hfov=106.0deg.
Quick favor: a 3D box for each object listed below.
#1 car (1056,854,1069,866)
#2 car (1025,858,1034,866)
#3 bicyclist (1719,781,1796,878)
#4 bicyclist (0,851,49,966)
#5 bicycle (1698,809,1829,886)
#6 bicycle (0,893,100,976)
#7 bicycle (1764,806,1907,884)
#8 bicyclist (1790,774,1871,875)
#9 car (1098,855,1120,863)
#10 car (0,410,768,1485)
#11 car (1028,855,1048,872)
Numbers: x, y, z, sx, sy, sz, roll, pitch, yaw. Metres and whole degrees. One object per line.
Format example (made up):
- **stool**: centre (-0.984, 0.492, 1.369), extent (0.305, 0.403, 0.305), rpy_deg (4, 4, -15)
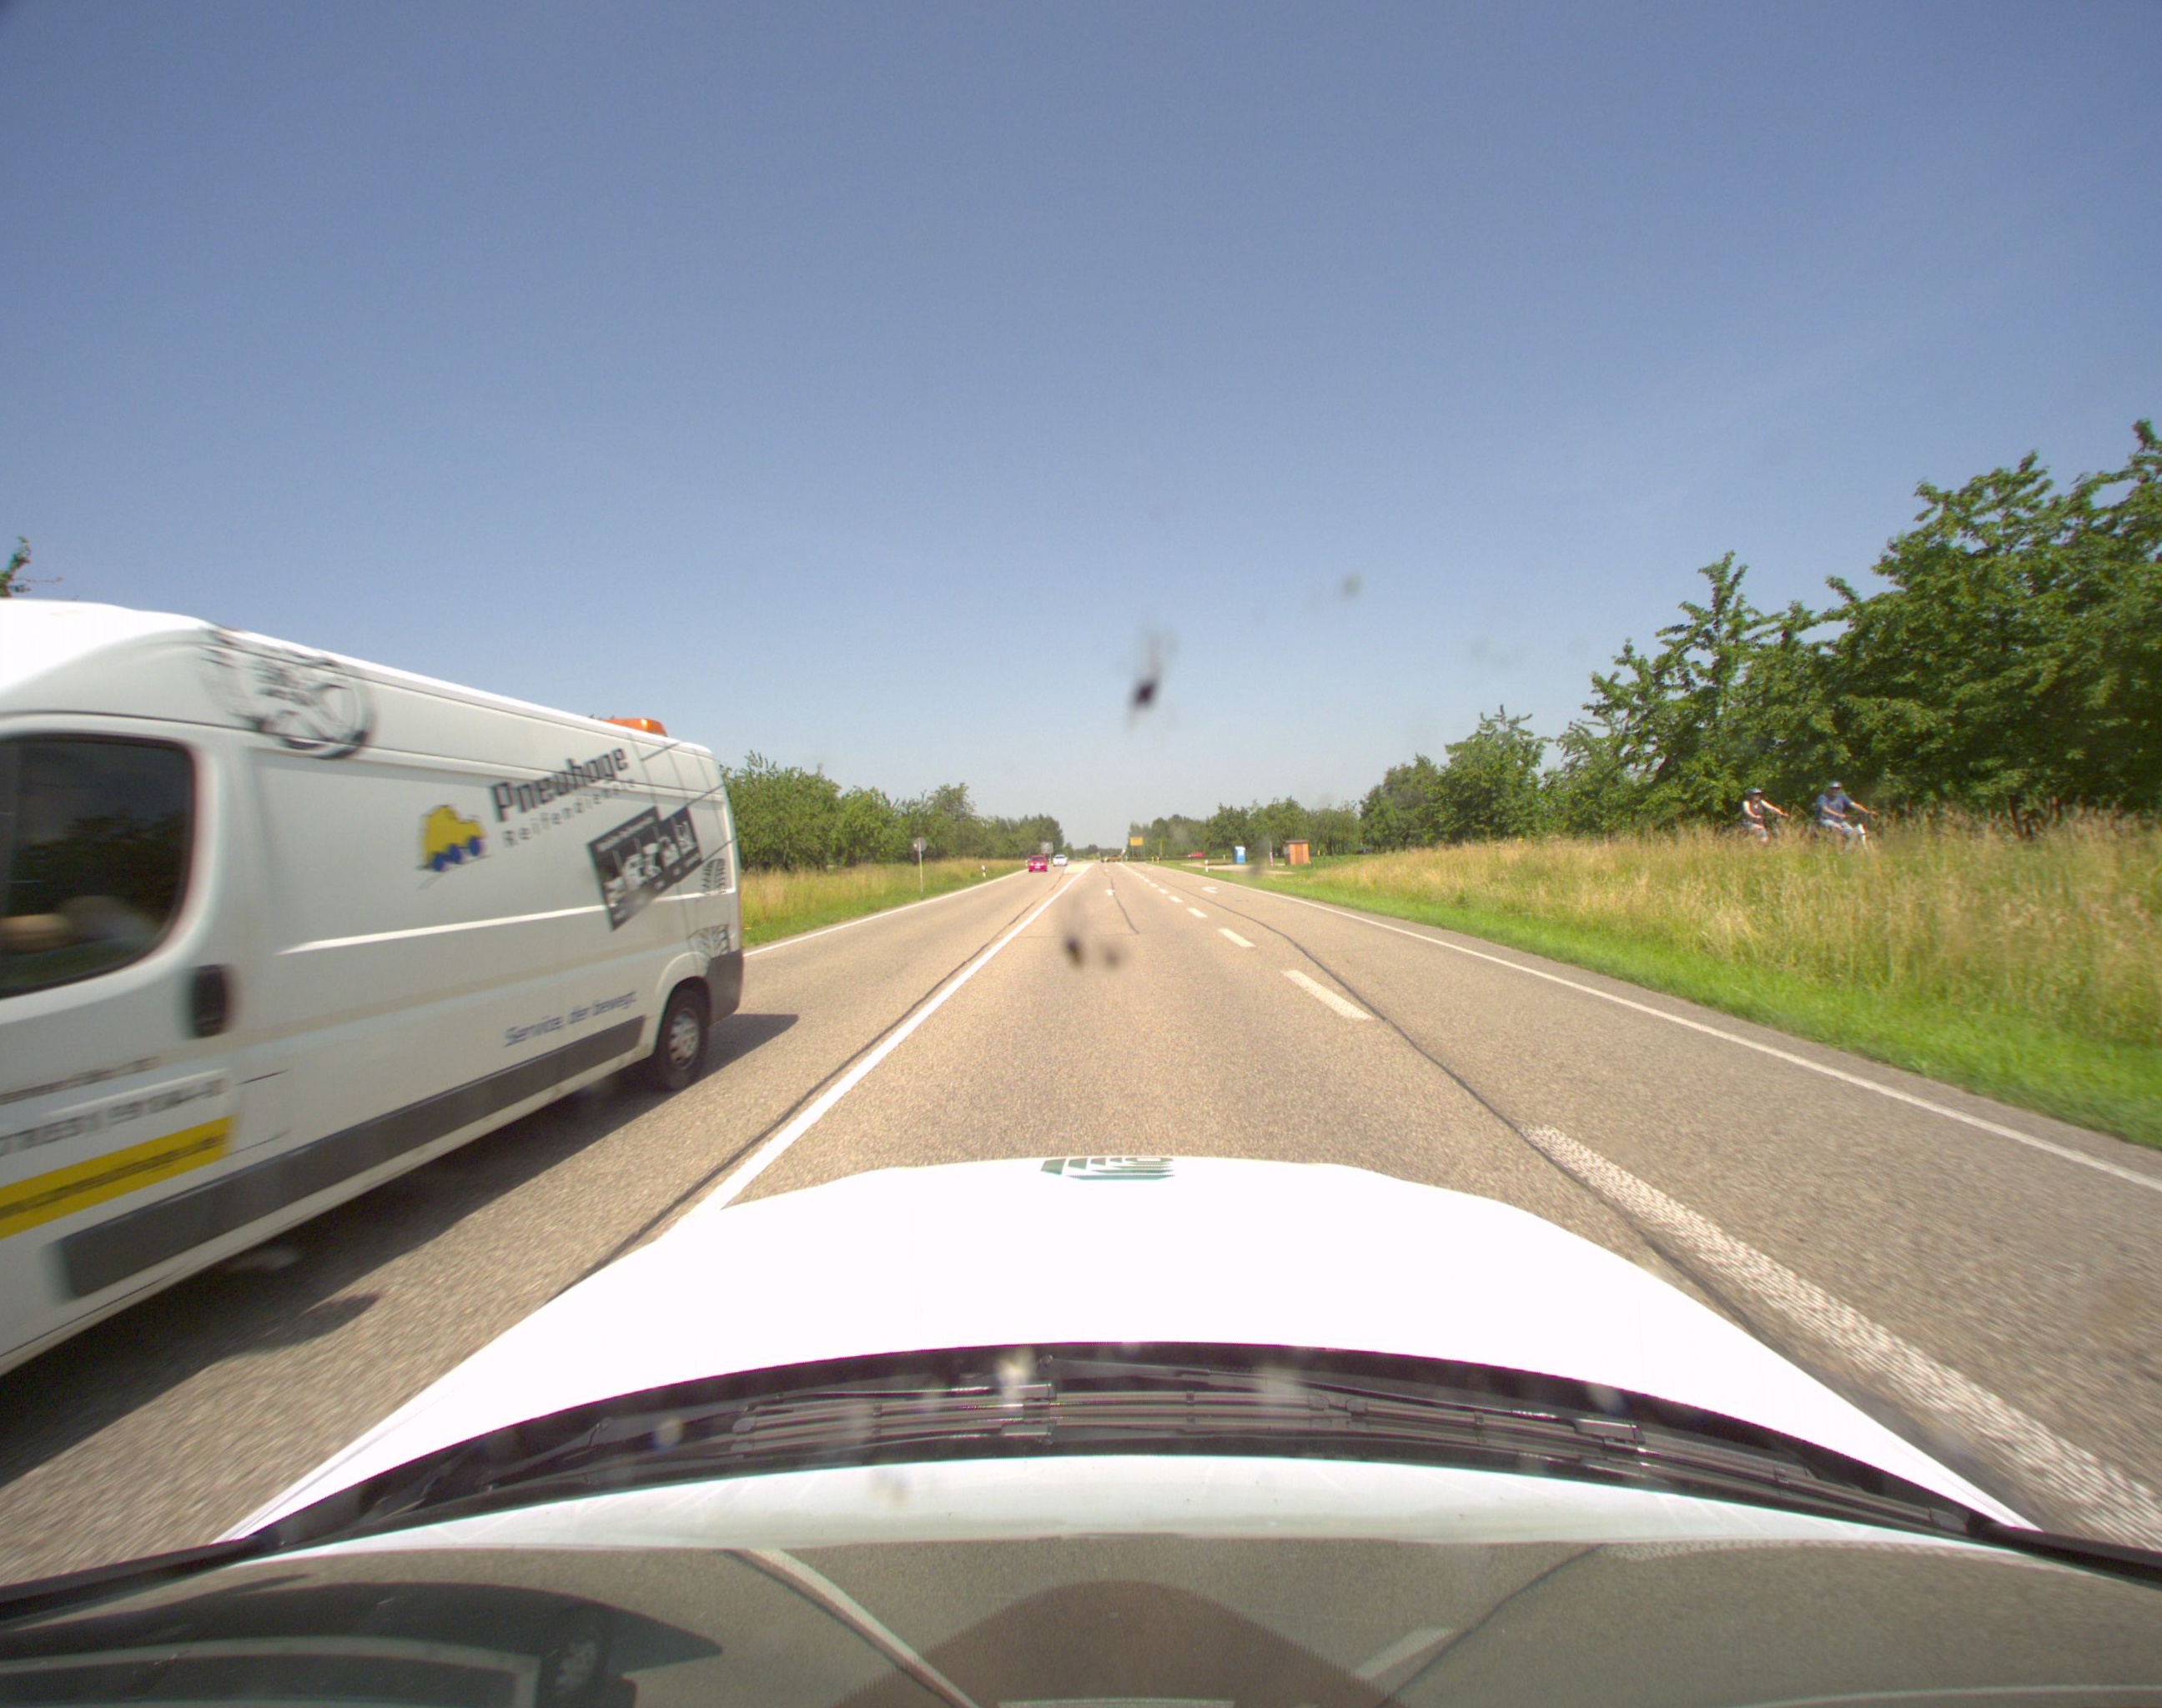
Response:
- **car**: centre (-2.475, 0.830, 110.435), extent (1.670, 1.494, 4.136), rpy_deg (-1, 0, -1)
- **car**: centre (-10.675, 1.640, 169.756), extent (1.700, 1.423, 4.039), rpy_deg (-2, 0, -3)
- **bicyclist**: centre (13.652, -0.478, 16.455), extent (0.747, 1.866, 0.869), rpy_deg (-3, 0, 1)
- **bicyclist**: centre (-13.667, 0.682, 10.091), extent (0.639, 1.414, 0.863), rpy_deg (-1, -1, 2)
- **bicycle**: centre (13.676, -0.123, 16.433), extent (0.747, 1.418, 2.222), rpy_deg (-3, 0, 1)
- **bicycle**: centre (-13.668, 1.016, 10.076), extent (0.646, 0.989, 1.956), rpy_deg (-1, -1, 2)
- **bicycle**: centre (14.935, -0.173, 16.224), extent (0.747, 1.418, 2.222), rpy_deg (-3, 0, 1)
- **bicyclist**: centre (14.918, -0.576, 16.237), extent (0.747, 1.929, 0.828), rpy_deg (-3, 0, 1)
- **car**: centre (5.384, 0.980, 157.127), extent (3.832, 1.416, 1.688), rpy_deg (-2, 0, -25)
- **car**: centre (-3.755, 0.263, 3.767), extent (2.154, 2.669, 6.142), rpy_deg (-1, -1, 0)
- **car**: centre (-3.981, 0.856, 75.203), extent (1.620, 1.457, 3.621), rpy_deg (-1, 0, 0)
